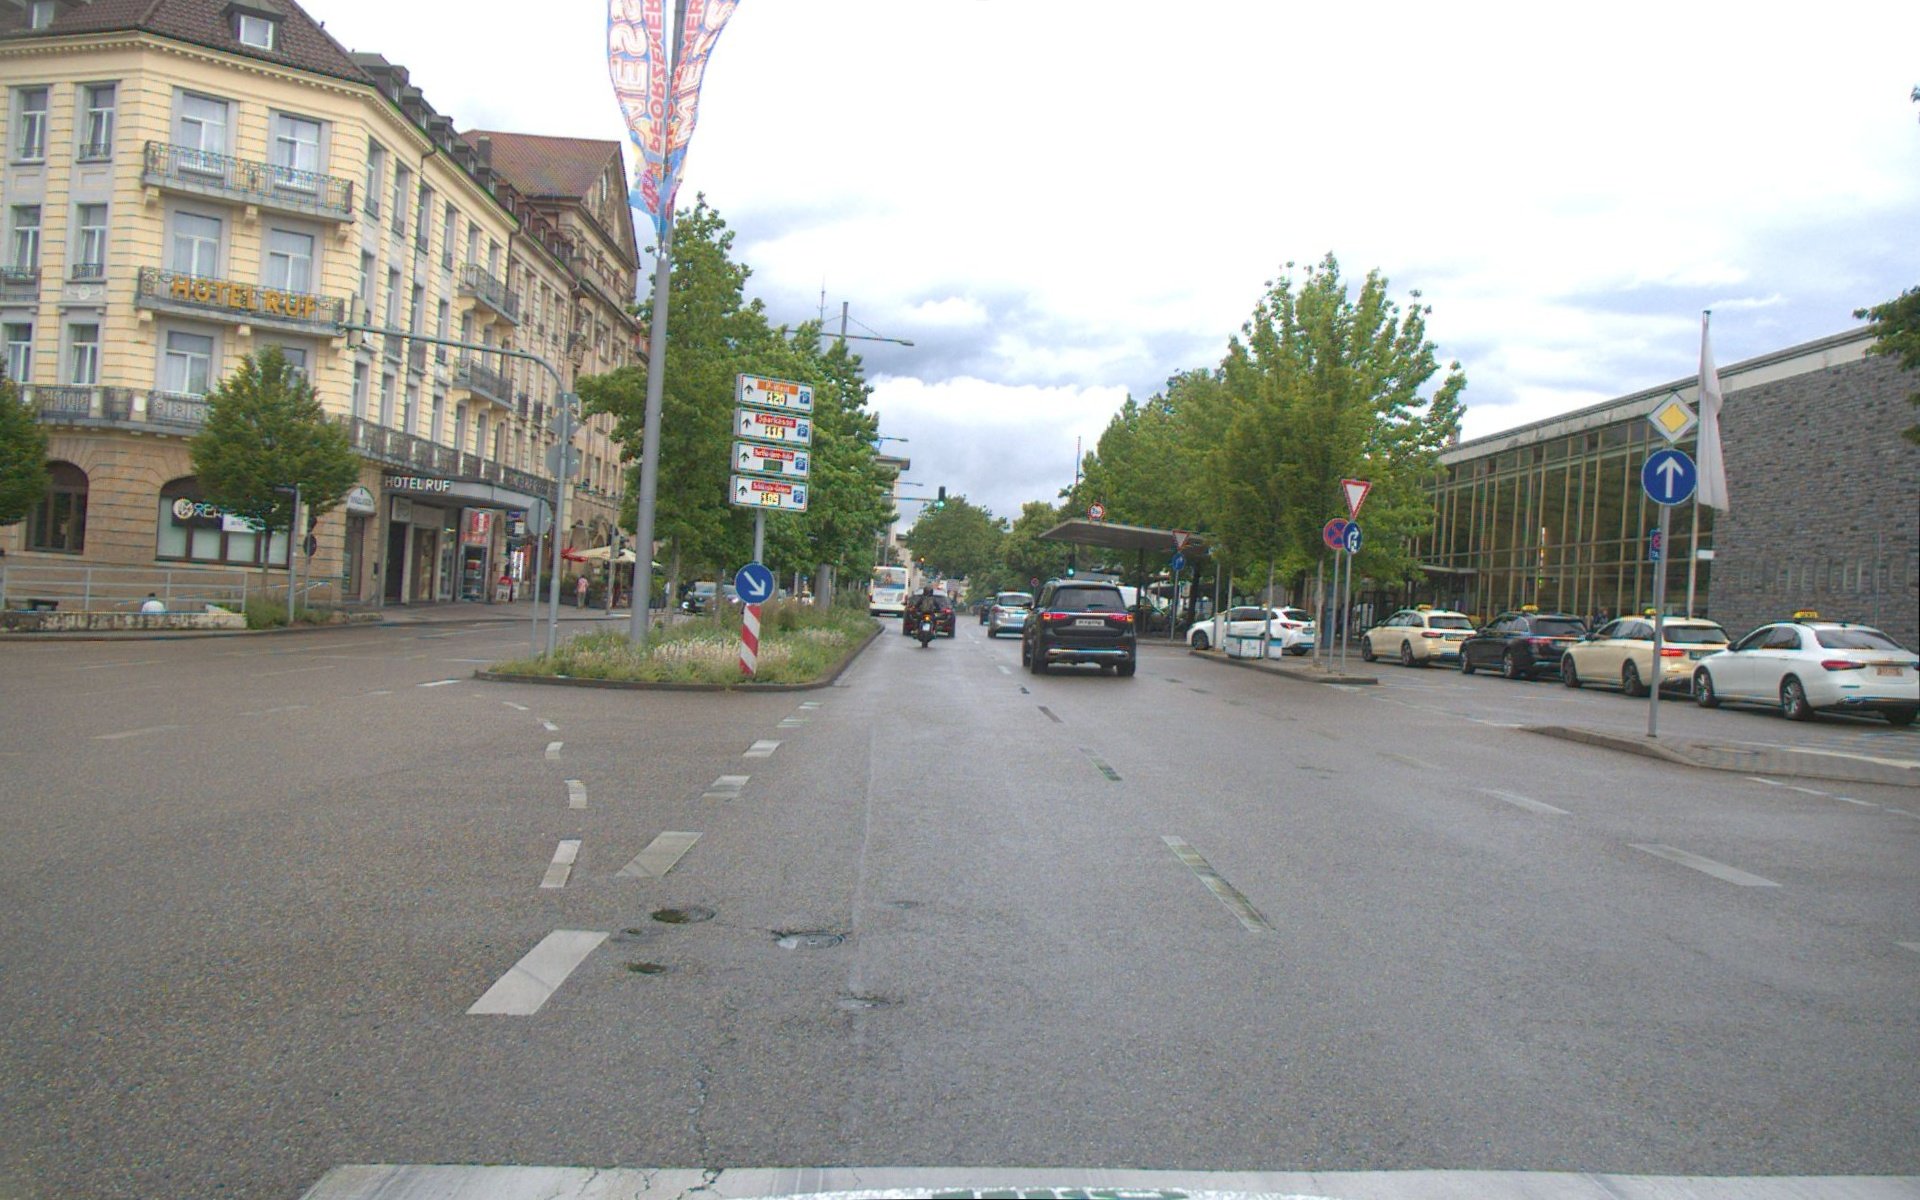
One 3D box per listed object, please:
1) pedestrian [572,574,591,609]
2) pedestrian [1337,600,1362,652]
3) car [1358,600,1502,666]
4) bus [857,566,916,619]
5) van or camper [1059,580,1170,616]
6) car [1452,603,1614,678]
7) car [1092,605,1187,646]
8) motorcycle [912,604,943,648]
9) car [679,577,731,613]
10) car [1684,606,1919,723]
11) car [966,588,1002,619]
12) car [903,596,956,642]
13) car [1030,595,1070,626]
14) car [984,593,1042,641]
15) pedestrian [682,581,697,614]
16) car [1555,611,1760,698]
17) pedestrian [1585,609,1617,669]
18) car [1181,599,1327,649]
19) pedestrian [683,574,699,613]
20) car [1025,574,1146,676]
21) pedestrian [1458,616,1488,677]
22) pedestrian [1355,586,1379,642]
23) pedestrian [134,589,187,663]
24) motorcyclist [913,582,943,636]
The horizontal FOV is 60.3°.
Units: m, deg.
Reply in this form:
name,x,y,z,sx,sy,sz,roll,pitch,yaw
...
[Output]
name,x,y,z,sx,sy,sz,roll,pitch,yaw
pedestrian,-16.723,-0.367,73.123,0.656,1.537,0.512,1,0,-39
pedestrian,15.765,1.047,66.899,0.754,2.049,0.828,1,0,-3
car,12.549,0.843,44.486,1.956,1.628,4.814,1,0,-8
bus,-4.986,-0.492,113.472,3.685,3.265,15.519,1,0,-2
van or camper,9.654,-0.098,103.116,6.675,2.049,2.364,1,-1,-27
car,13.050,0.879,38.009,1.875,1.551,4.740,1,0,-3
car,8.938,1.289,82.404,4.273,1.890,1.988,2,0,-21
motorcycle,-0.842,0.655,42.982,0.750,1.095,2.175,2,0,-1
car,-11.852,-0.228,77.111,1.735,1.557,4.078,1,0,0
car,13.371,0.943,26.072,1.739,1.617,4.614,1,0,-2
car,1.214,0.161,84.581,1.673,1.500,3.999,1,0,-1
car,-1.028,0.613,55.780,1.673,1.473,3.999,1,0,-1
car,4.617,0.528,85.468,1.779,1.557,3.999,1,0,-1
car,1.843,0.582,58.072,1.813,1.594,3.999,1,0,-1
pedestrian,-14.399,-0.135,88.109,0.661,1.731,0.633,1,0,-1
car,13.244,0.985,31.726,1.809,1.477,4.664,1,0,-2
pedestrian,18.206,1.095,46.968,0.553,1.675,0.715,1,0,-6
car,9.047,0.731,51.160,1.764,1.409,4.303,1,0,-41
pedestrian,-14.287,-0.329,87.787,0.742,2.049,0.832,2,0,-7
car,2.420,0.448,33.077,1.953,1.837,4.689,1,0,-1
pedestrian,14.822,1.333,47.766,0.553,1.739,0.715,1,0,-6
pedestrian,18.198,0.612,73.965,0.825,2.453,0.862,1,0,1
pedestrian,-21.266,0.688,44.002,0.845,1.911,1.022,2,0,-1
motorcyclist,-0.834,0.227,43.061,0.749,1.355,0.866,2,0,-1
